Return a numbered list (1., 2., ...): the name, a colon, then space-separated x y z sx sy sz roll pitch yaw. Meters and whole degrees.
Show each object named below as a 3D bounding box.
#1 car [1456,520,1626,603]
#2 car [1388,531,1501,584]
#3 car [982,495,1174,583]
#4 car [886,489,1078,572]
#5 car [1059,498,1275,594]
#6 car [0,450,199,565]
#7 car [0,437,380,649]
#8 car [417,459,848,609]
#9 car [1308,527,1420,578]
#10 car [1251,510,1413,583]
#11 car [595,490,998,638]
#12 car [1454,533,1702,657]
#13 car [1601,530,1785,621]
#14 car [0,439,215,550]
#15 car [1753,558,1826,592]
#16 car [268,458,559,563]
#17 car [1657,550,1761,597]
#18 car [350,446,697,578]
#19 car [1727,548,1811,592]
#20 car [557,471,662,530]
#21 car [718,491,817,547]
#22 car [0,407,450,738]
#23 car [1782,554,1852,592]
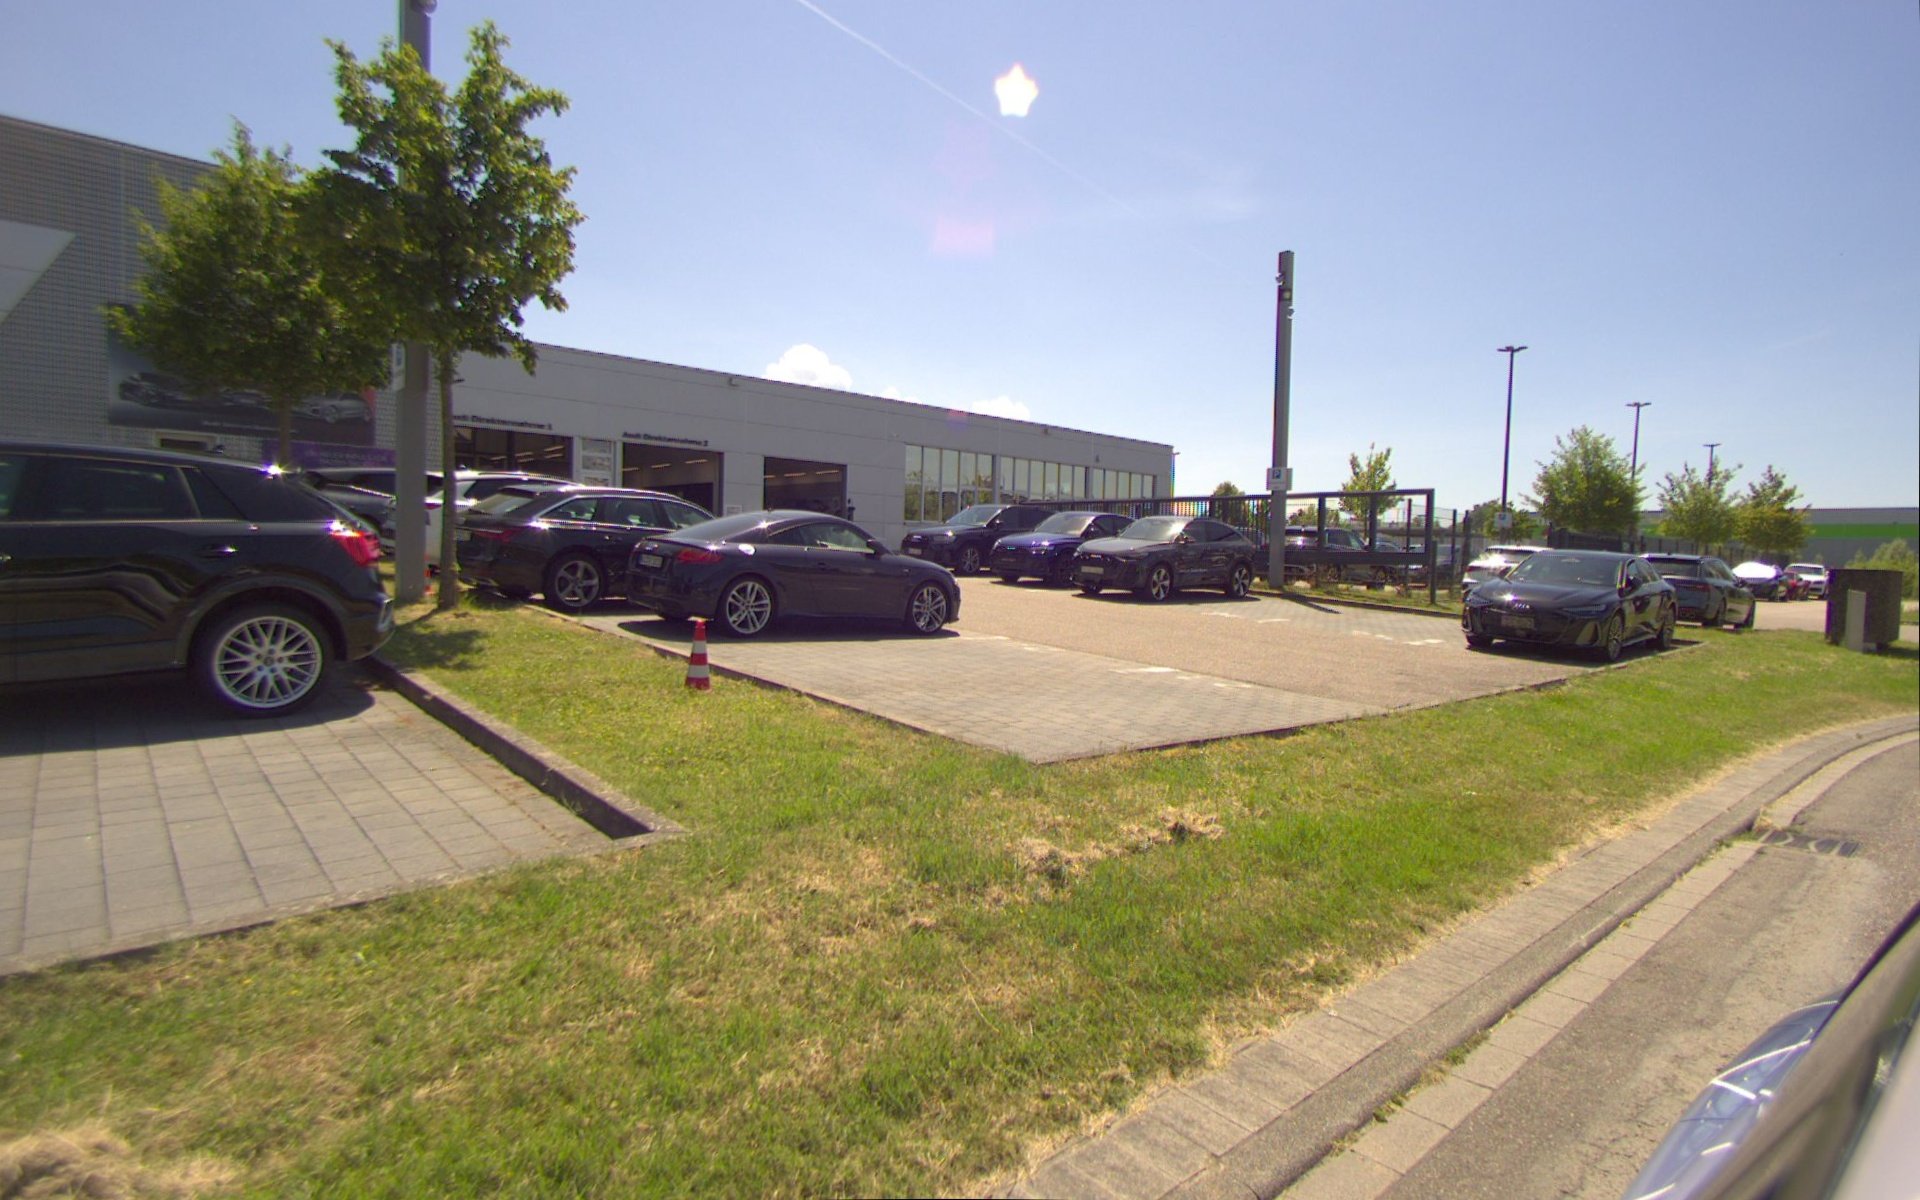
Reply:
1. car: 12.630 -0.824 21.864 4.863 1.546 1.822 -1 5 -44
2. car: 16.809 -1.461 34.994 4.550 1.649 1.964 -1 5 -44
3. car: 2.706 -1.335 22.581 4.344 1.714 1.828 -1 6 -44
4. car: 0.618 -1.664 24.755 4.550 1.762 1.965 -1 7 -44
5. car: 4.285 -1.077 20.480 4.707 1.662 1.828 -1 7 -44
6. car: -12.531 -1.234 12.872 4.393 1.382 1.965 -1 7 -44
7. car: -6.846 -0.475 7.419 4.157 1.382 1.965 -1 7 -44
8. car: -4.026 -0.814 13.062 4.923 1.571 1.964 -1 5 -44
9. car: 14.584 -1.673 36.402 4.550 1.649 1.964 -1 5 -44
10. car: 9.419 -1.324 25.470 4.550 1.649 1.964 -1 5 -44
11. car: -1.760 -0.416 11.782 4.240 1.391 1.964 0 5 -44
12. car: 9.356 -0.135 15.130 4.941 1.472 1.882 -1 6 -44
13. car: 14.294 -0.497 19.612 4.863 1.485 1.964 -1 5 -44
14. car: -14.694 -1.718 16.187 4.350 1.610 1.967 -1 6 -41
15. car: 36.807 -1.115 44.877 4.100 1.373 1.779 -1 5 -41
16. car: -10.560 -1.685 19.780 4.651 1.759 1.964 -1 5 -44
17. car: 25.156 -0.898 33.945 4.493 1.418 1.779 -1 5 -40
18. car: -6.230 -1.198 14.719 4.218 1.632 1.964 -1 5 -44
19. car: 32.659 -1.219 40.819 4.329 1.585 1.779 -1 5 -41
20. car: -12.147 -3.449 34.907 1.934 1.762 4.251 -1 7 -41
21. car: -7.056 -2.975 36.806 1.930 1.762 4.258 0 6 -35
22. car: -5.293 -0.222 5.479 4.157 1.589 1.891 -1 7 -44
23. car: 41.155 -1.330 48.578 4.320 1.666 1.824 -1 5 -41
